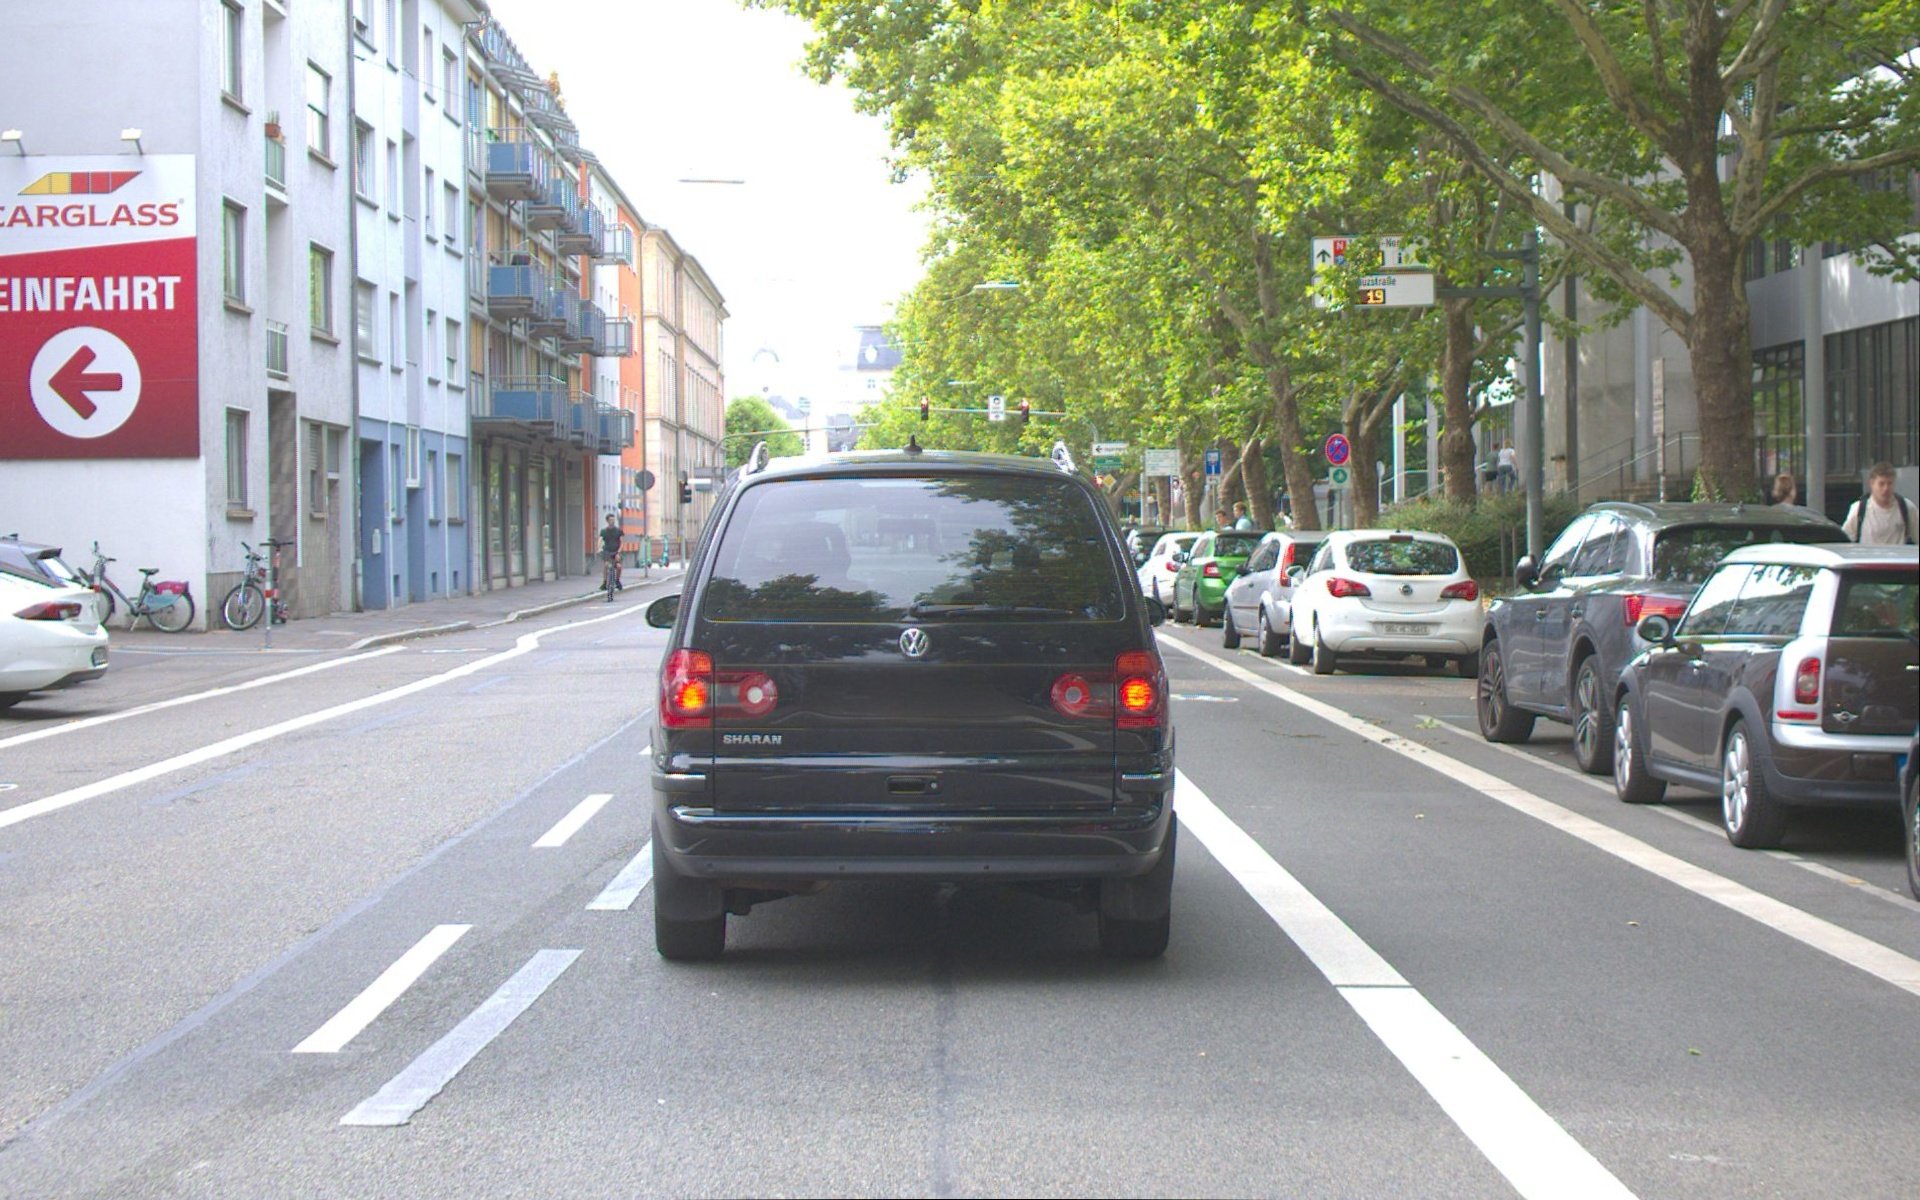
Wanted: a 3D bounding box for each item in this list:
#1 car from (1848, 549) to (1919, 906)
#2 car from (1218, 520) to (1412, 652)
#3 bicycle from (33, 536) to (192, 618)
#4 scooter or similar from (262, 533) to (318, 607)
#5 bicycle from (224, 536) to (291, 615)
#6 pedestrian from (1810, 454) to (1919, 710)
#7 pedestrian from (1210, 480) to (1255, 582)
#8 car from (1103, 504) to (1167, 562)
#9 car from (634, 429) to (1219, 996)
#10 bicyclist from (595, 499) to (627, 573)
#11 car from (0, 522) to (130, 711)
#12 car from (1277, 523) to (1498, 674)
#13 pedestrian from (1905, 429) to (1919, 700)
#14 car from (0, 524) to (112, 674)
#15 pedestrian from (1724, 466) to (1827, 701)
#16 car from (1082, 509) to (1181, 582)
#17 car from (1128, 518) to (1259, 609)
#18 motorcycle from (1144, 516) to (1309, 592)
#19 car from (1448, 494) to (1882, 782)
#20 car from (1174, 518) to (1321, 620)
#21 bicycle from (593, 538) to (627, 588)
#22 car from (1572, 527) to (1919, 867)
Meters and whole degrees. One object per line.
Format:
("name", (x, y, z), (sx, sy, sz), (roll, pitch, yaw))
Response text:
("car", (4.592, 0.570, 12.597), (1.622, 1.381, 4.000), (2, 2, 1))
("car", (4.106, -0.194, 40.197), (1.641, 1.408, 3.417), (1, 2, -4))
("bicycle", (-11.214, -0.306, 45.511), (2.009, 1.030, 0.410), (1, 3, 1))
("scooter or similar", (-9.731, -0.429, 49.945), (0.631, 1.030, 2.015), (1, -1, -7))
("bicycle", (-9.615, -0.343, 47.086), (0.631, 1.030, 2.016), (1, 2, -4))
("pedestrian", (6.635, -0.145, 25.208), (0.587, 1.832, 0.692), (1, 3, 1))
("pedestrian", (4.887, -1.244, 61.720), (0.767, 1.825, 0.516), (0, 2, 0))
("car", (5.448, -2.101, 107.378), (1.788, 1.765, 4.000), (0, 2, 0))
("car", (-0.217, 0.303, 12.573), (1.812, 1.760, 3.739), (0, 2, -4))
("bicyclist", (-7.637, -1.397, 75.263), (0.653, 1.606, 0.656), (1, -1, -3))
("car", (-8.709, 0.094, 28.367), (3.342, 1.491, 1.596), (1, 1, -2))
("car", (4.383, -0.065, 35.830), (1.675, 1.389, 4.461), (1, 2, 0))
("pedestrian", (7.328, -0.251, 25.042), (0.643, 1.968, 0.692), (1, 3, 1))
("car", (-10.068, -0.048, 33.316), (3.342, 1.397, 1.504), (1, 1, -2))
("pedestrian", (5.979, -0.128, 25.226), (0.587, 1.696, 0.508), (1, 3, 1))
("car", (3.553, -1.149, 71.749), (1.641, 1.482, 3.513), (0, 2, -4))
("car", (3.837, -0.625, 56.982), (1.641, 1.390, 3.514), (1, 2, -4))
("motorcycle", (4.695, -0.808, 60.617), (2.837, 1.320, 0.765), (0, 2, 0))
("car", (4.464, 0.156, 22.452), (1.668, 1.635, 4.505), (2, 2, -3))
("car", (4.293, -0.485, 51.687), (1.641, 1.408, 3.417), (1, 2, -4))
("bicycle", (-7.605, -0.807, 74.822), (0.631, 1.030, 2.015), (1, -1, -3))
("car", (4.332, 0.380, 17.273), (1.629, 1.465, 4.318), (0, 2, -2))
